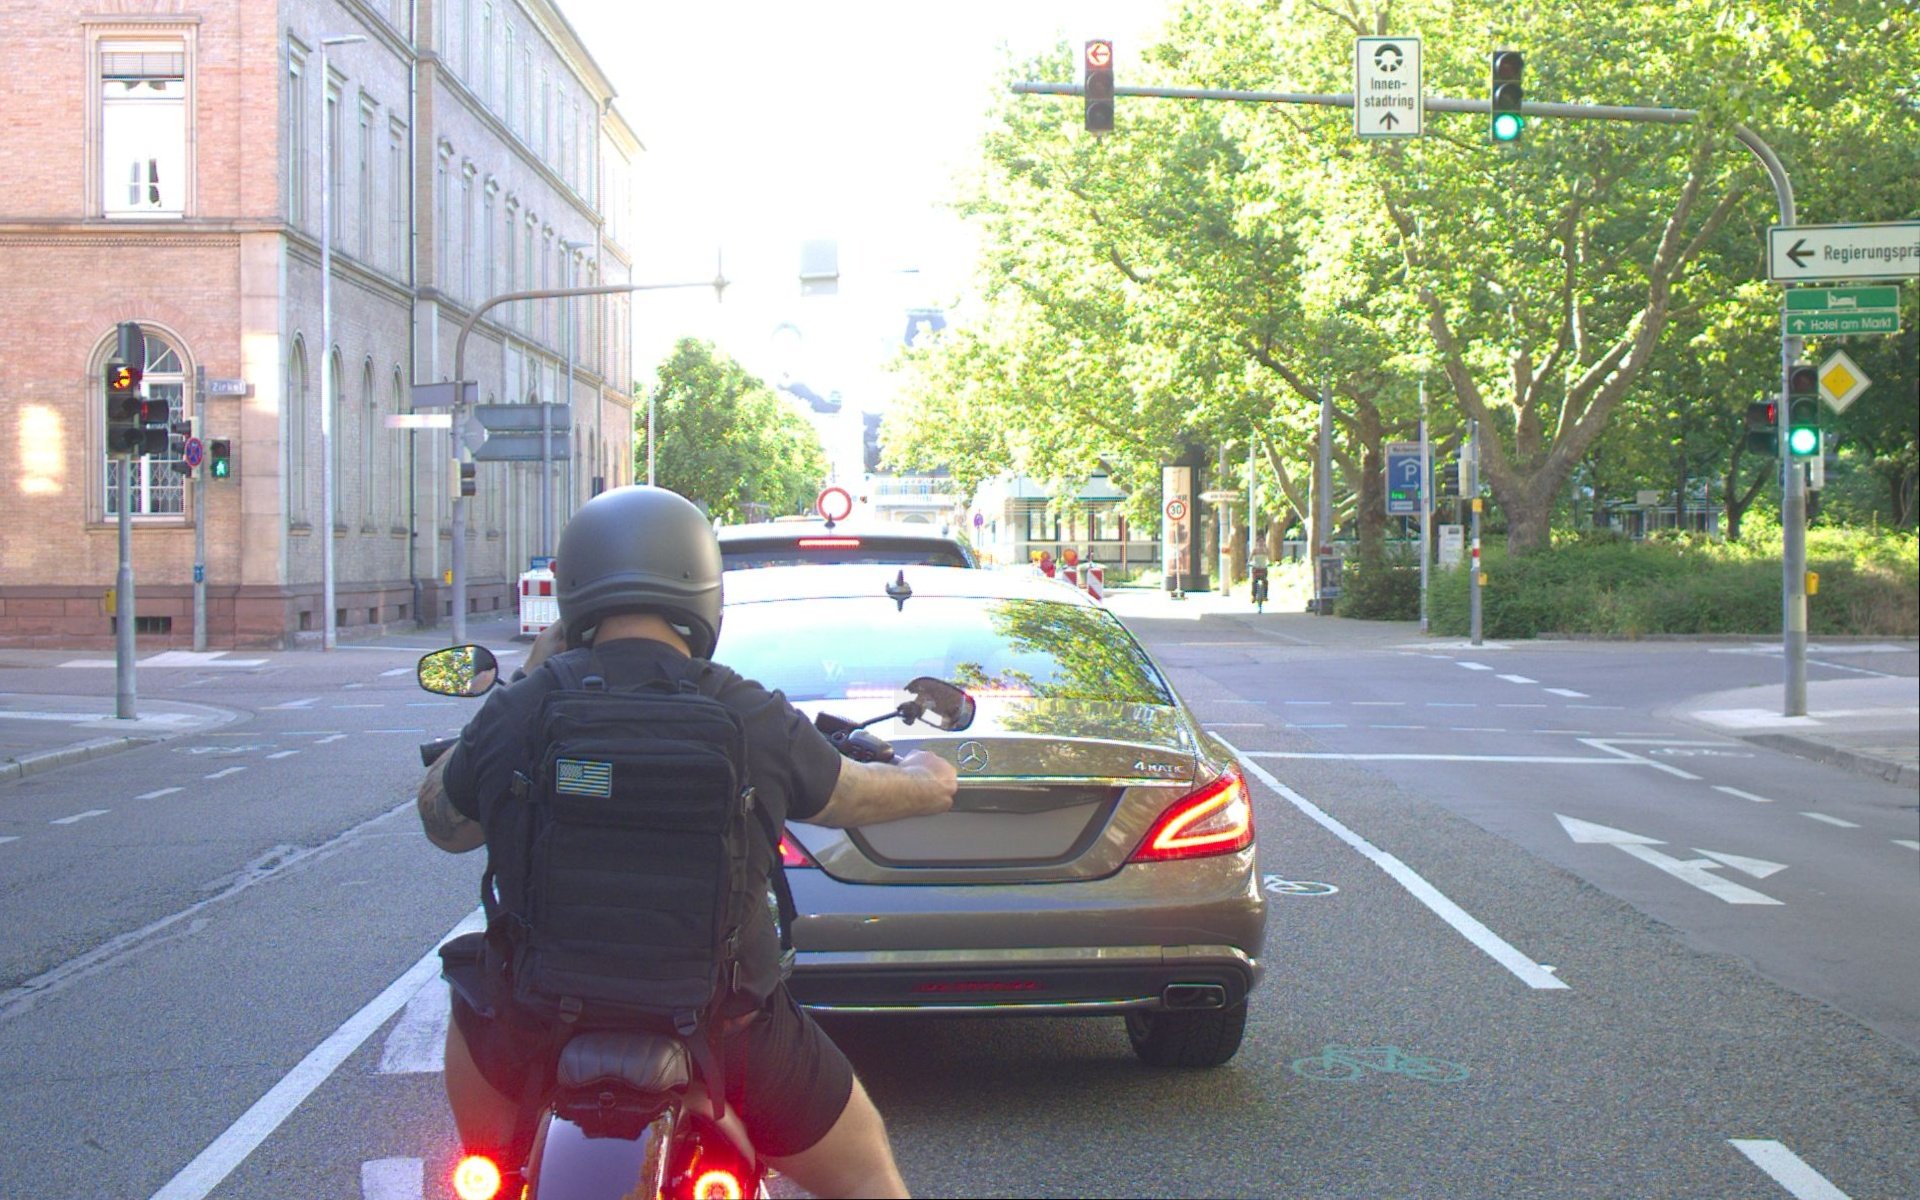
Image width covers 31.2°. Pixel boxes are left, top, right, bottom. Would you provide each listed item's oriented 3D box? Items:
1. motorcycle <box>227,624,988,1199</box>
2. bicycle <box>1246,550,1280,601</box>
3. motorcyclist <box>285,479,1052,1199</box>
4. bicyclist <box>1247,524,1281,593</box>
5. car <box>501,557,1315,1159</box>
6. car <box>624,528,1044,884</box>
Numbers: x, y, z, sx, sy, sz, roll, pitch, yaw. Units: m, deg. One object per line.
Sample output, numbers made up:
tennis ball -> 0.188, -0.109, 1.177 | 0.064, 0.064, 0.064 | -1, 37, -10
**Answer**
motorcycle -> -0.467, 0.741, 5.549 | 0.962, 1.352, 2.320 | 1, 1, -1
bicycle -> 7.021, -0.566, 79.740 | 0.716, 1.168, 2.176 | 1, 1, 3
motorcyclist -> -0.418, 0.622, 5.277 | 1.061, 1.577, 0.908 | 1, 0, -1
bicyclist -> 7.033, -0.960, 79.642 | 0.716, 1.577, 0.936 | 1, 0, 2
car -> -0.393, 0.599, 10.617 | 1.901, 1.436, 4.290 | 0, 1, -9
car -> -0.649, 0.421, 16.780 | 1.813, 1.530, 3.849 | 0, 1, -3
